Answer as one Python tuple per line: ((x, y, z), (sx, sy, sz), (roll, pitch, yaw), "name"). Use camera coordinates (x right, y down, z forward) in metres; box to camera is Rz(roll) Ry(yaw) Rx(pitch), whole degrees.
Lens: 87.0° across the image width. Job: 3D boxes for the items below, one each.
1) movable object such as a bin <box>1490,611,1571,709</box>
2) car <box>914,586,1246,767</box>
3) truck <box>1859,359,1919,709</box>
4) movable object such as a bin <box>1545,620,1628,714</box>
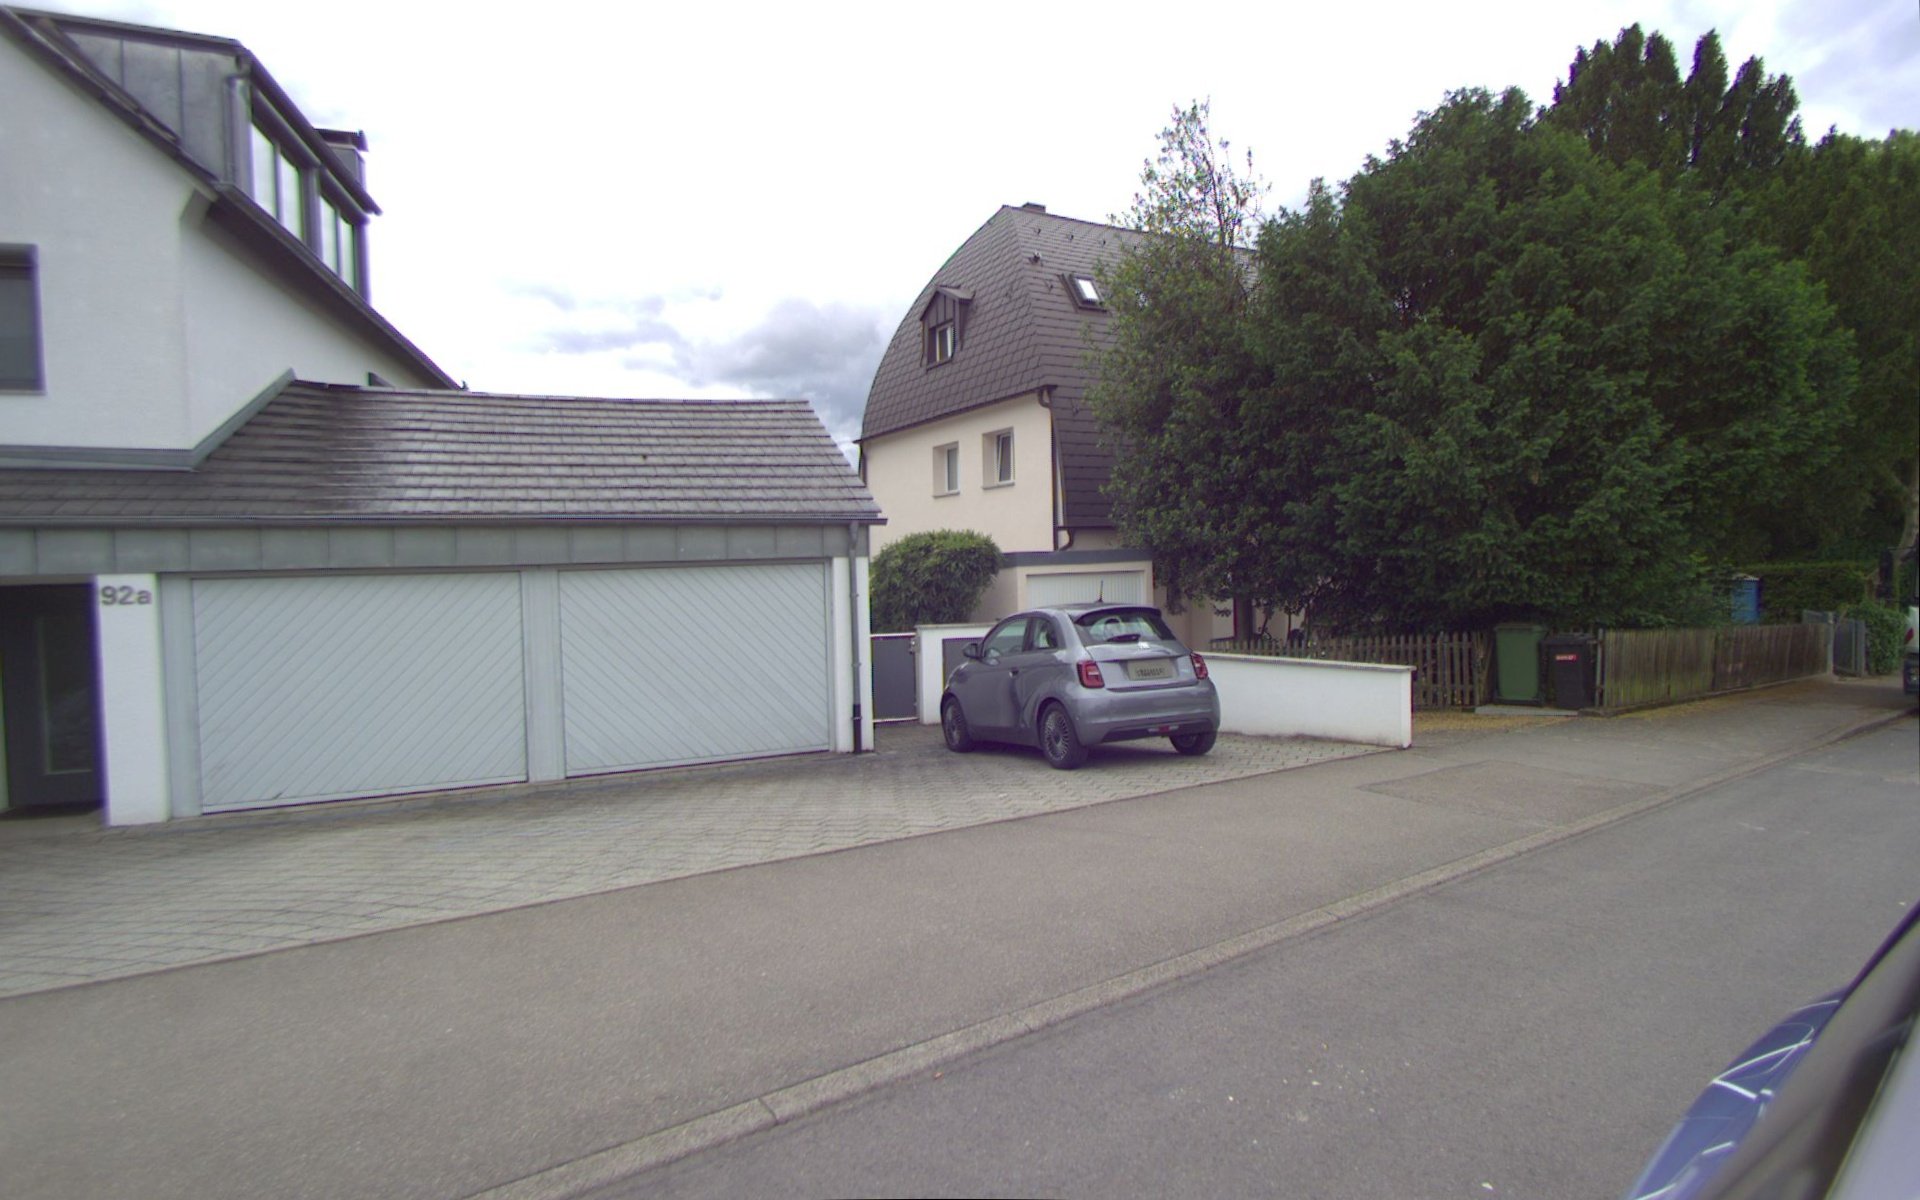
((7.418, 0.776, 13.154), (0.935, 1.223, 0.599), (3, -5, -41), "movable object such as a bin")
((1.017, 0.762, 10.628), (1.657, 1.516, 3.863), (-1, -4, -24), "car")
((16.220, -0.868, 15.061), (7.812, 4.608, 3.151), (0, 1, -40), "truck")
((7.848, 0.831, 12.667), (0.935, 1.120, 0.599), (3, -5, -41), "movable object such as a bin")
